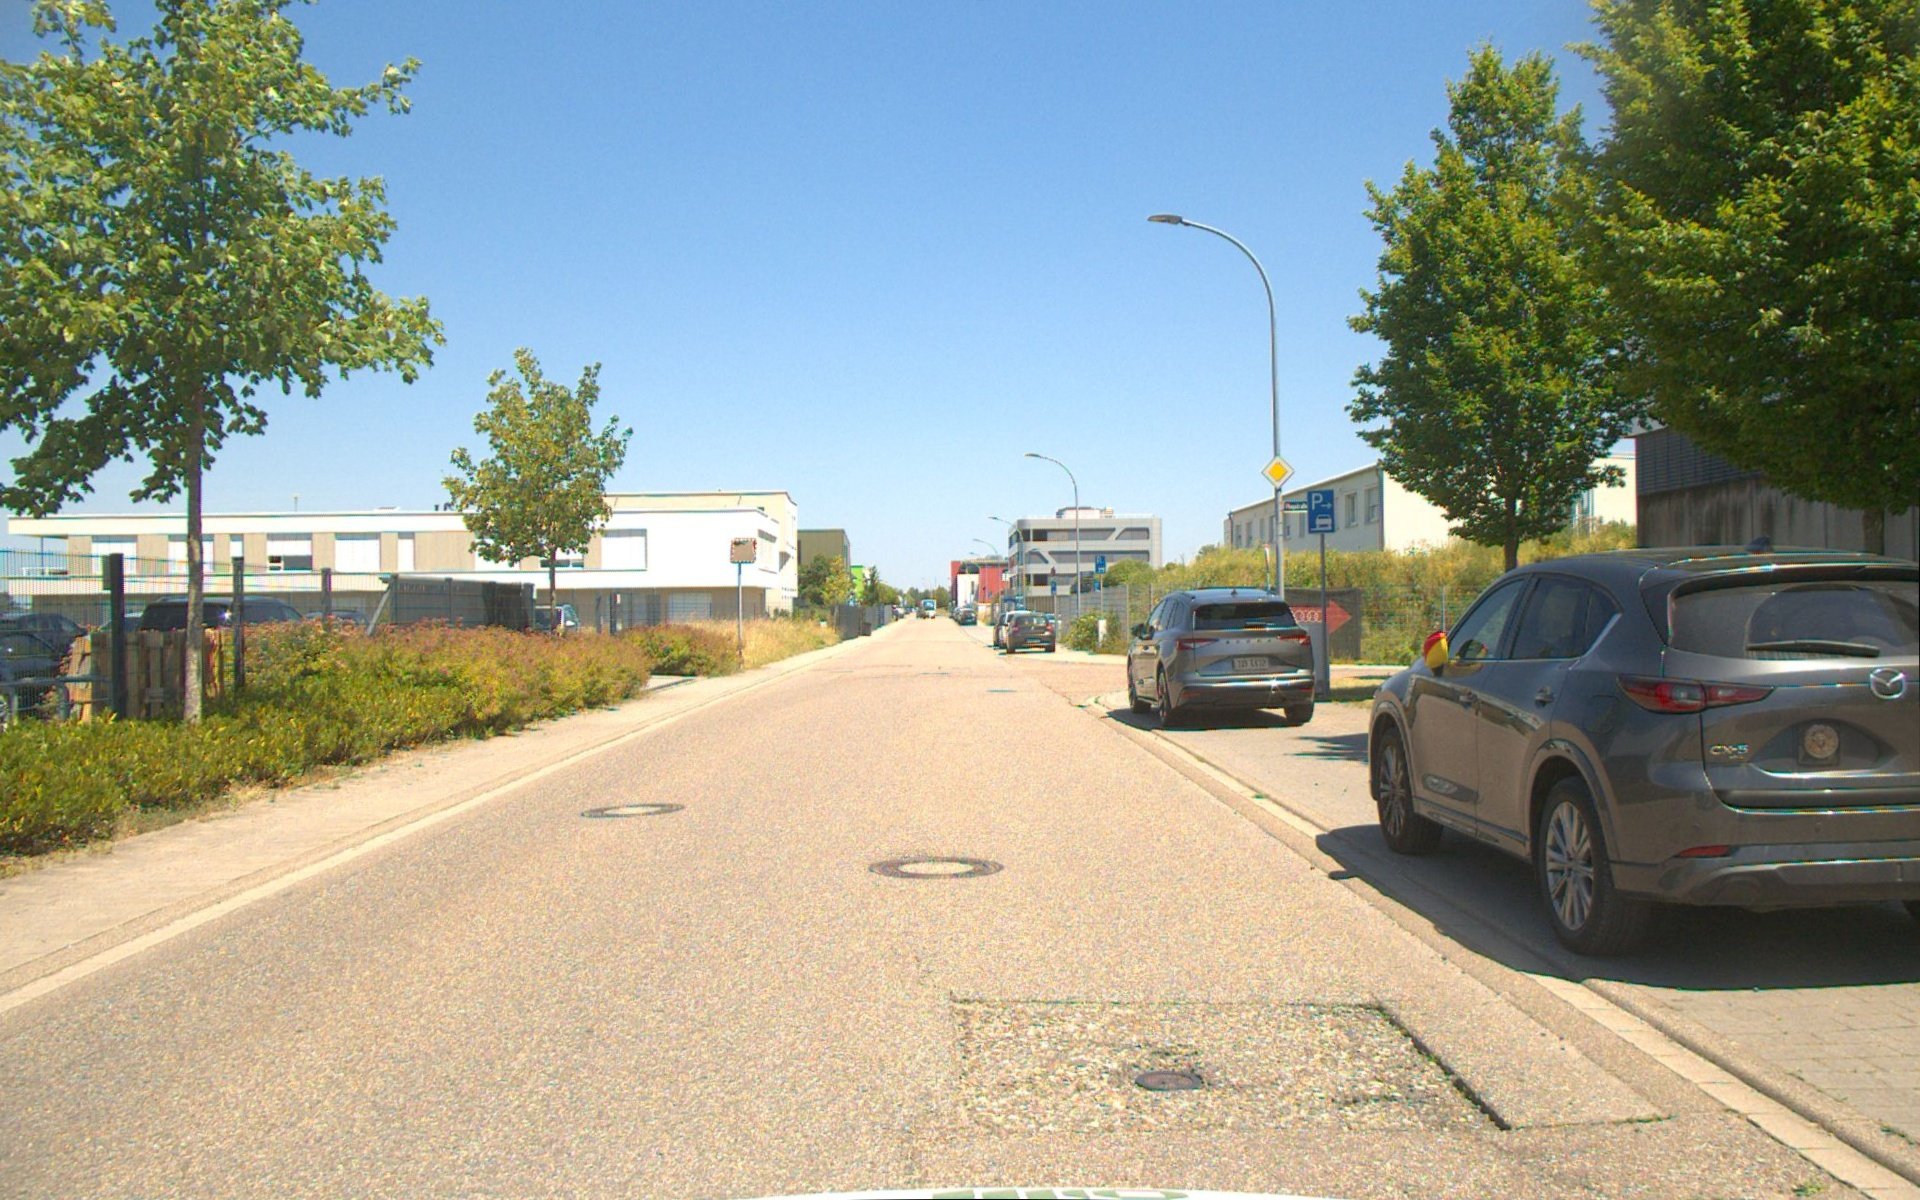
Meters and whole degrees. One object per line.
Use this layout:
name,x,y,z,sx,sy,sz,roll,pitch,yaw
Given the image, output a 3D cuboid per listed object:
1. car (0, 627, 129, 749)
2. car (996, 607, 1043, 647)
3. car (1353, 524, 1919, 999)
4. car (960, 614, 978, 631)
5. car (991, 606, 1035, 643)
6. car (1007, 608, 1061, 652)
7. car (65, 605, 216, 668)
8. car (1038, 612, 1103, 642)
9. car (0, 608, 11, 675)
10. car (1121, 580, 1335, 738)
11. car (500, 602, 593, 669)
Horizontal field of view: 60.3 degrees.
car,-11.420,0.996,18.963,1.759,1.303,4.000,0,0,0
car,2.491,1.115,69.399,1.868,1.573,4.001,-2,0,2
car,3.376,0.573,8.233,1.722,1.692,4.362,-2,0,0
car,0.882,2.309,171.189,1.740,1.758,3.999,1,0,-1
car,2.432,1.121,75.856,1.868,1.573,4.001,-2,0,2
car,2.677,1.089,60.489,1.868,1.473,4.001,-2,0,2
car,-18.943,0.822,38.425,1.789,1.361,3.757,-1,0,-3
car,7.842,1.896,117.668,4.529,2.049,2.607,1,0,2
car,-24.077,1.009,38.675,1.638,1.633,3.997,-1,0,-3
car,3.272,0.669,21.106,1.767,1.691,4.606,-3,0,-2
car,-10.064,0.848,40.448,1.666,1.547,2.995,-1,0,-3
